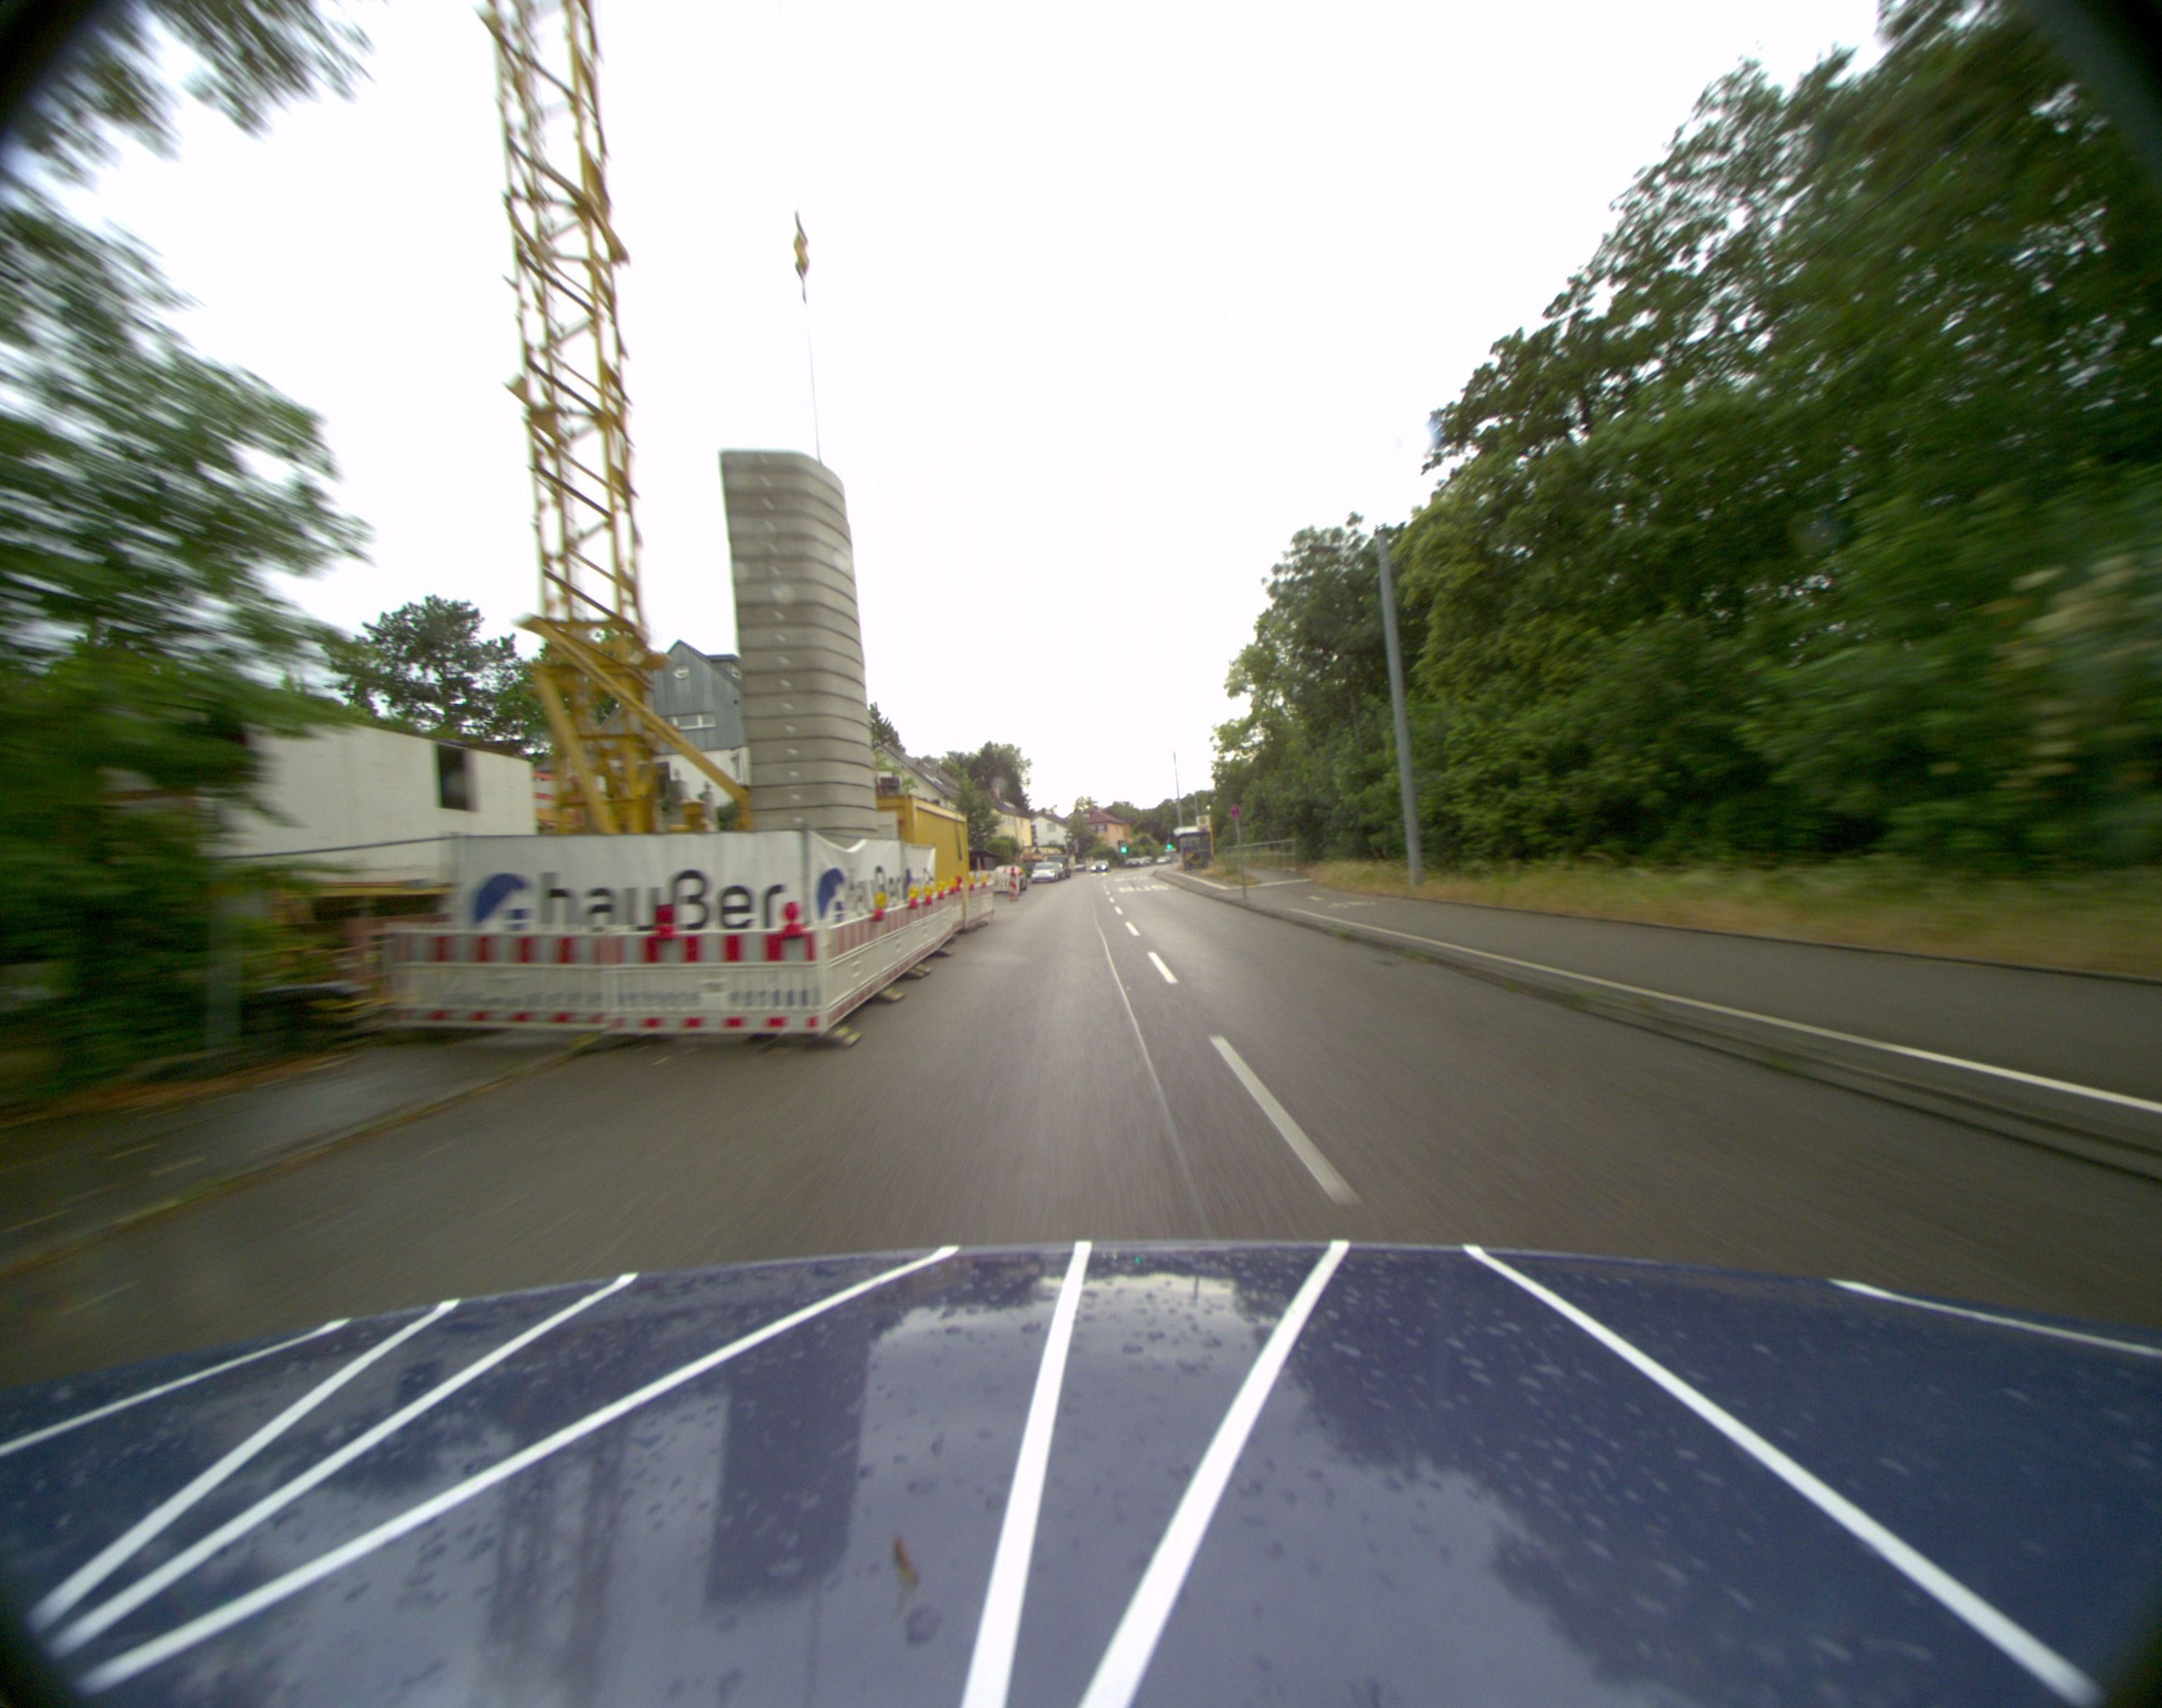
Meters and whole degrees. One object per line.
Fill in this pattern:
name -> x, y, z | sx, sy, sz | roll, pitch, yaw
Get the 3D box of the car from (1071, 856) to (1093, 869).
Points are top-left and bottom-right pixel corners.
car -> 0.142, 1.224, 110.565 | 1.935, 1.586, 4.346 | -5, 0, 16

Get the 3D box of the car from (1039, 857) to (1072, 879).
car -> -1.997, 1.075, 60.913 | 1.935, 1.587, 4.396 | -2, 0, 7

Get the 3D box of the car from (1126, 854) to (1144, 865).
car -> 8.144, 0.826, 114.957 | 1.754, 1.435, 4.605 | -4, 0, 16

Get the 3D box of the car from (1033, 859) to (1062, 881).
car -> -2.421, 1.156, 56.311 | 1.676, 1.448, 3.387 | -3, 0, 4

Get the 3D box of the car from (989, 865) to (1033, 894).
car -> -3.852, 1.377, 42.426 | 1.937, 1.414, 4.837 | -3, 0, 0

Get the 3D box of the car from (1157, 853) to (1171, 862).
car -> 15.501, 0.599, 141.579 | 1.815, 1.390, 4.107 | -4, 1, 17

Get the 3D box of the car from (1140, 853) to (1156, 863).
car -> 11.175, 0.637, 125.936 | 1.732, 1.558, 4.527 | -3, 0, 16

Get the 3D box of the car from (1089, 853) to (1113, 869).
car -> 2.300, 0.766, 87.570 | 1.997, 1.714, 4.003 | -4, 0, 11

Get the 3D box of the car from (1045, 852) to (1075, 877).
car -> -1.769, 0.907, 65.986 | 1.998, 2.002, 4.958 | -2, 0, 4
